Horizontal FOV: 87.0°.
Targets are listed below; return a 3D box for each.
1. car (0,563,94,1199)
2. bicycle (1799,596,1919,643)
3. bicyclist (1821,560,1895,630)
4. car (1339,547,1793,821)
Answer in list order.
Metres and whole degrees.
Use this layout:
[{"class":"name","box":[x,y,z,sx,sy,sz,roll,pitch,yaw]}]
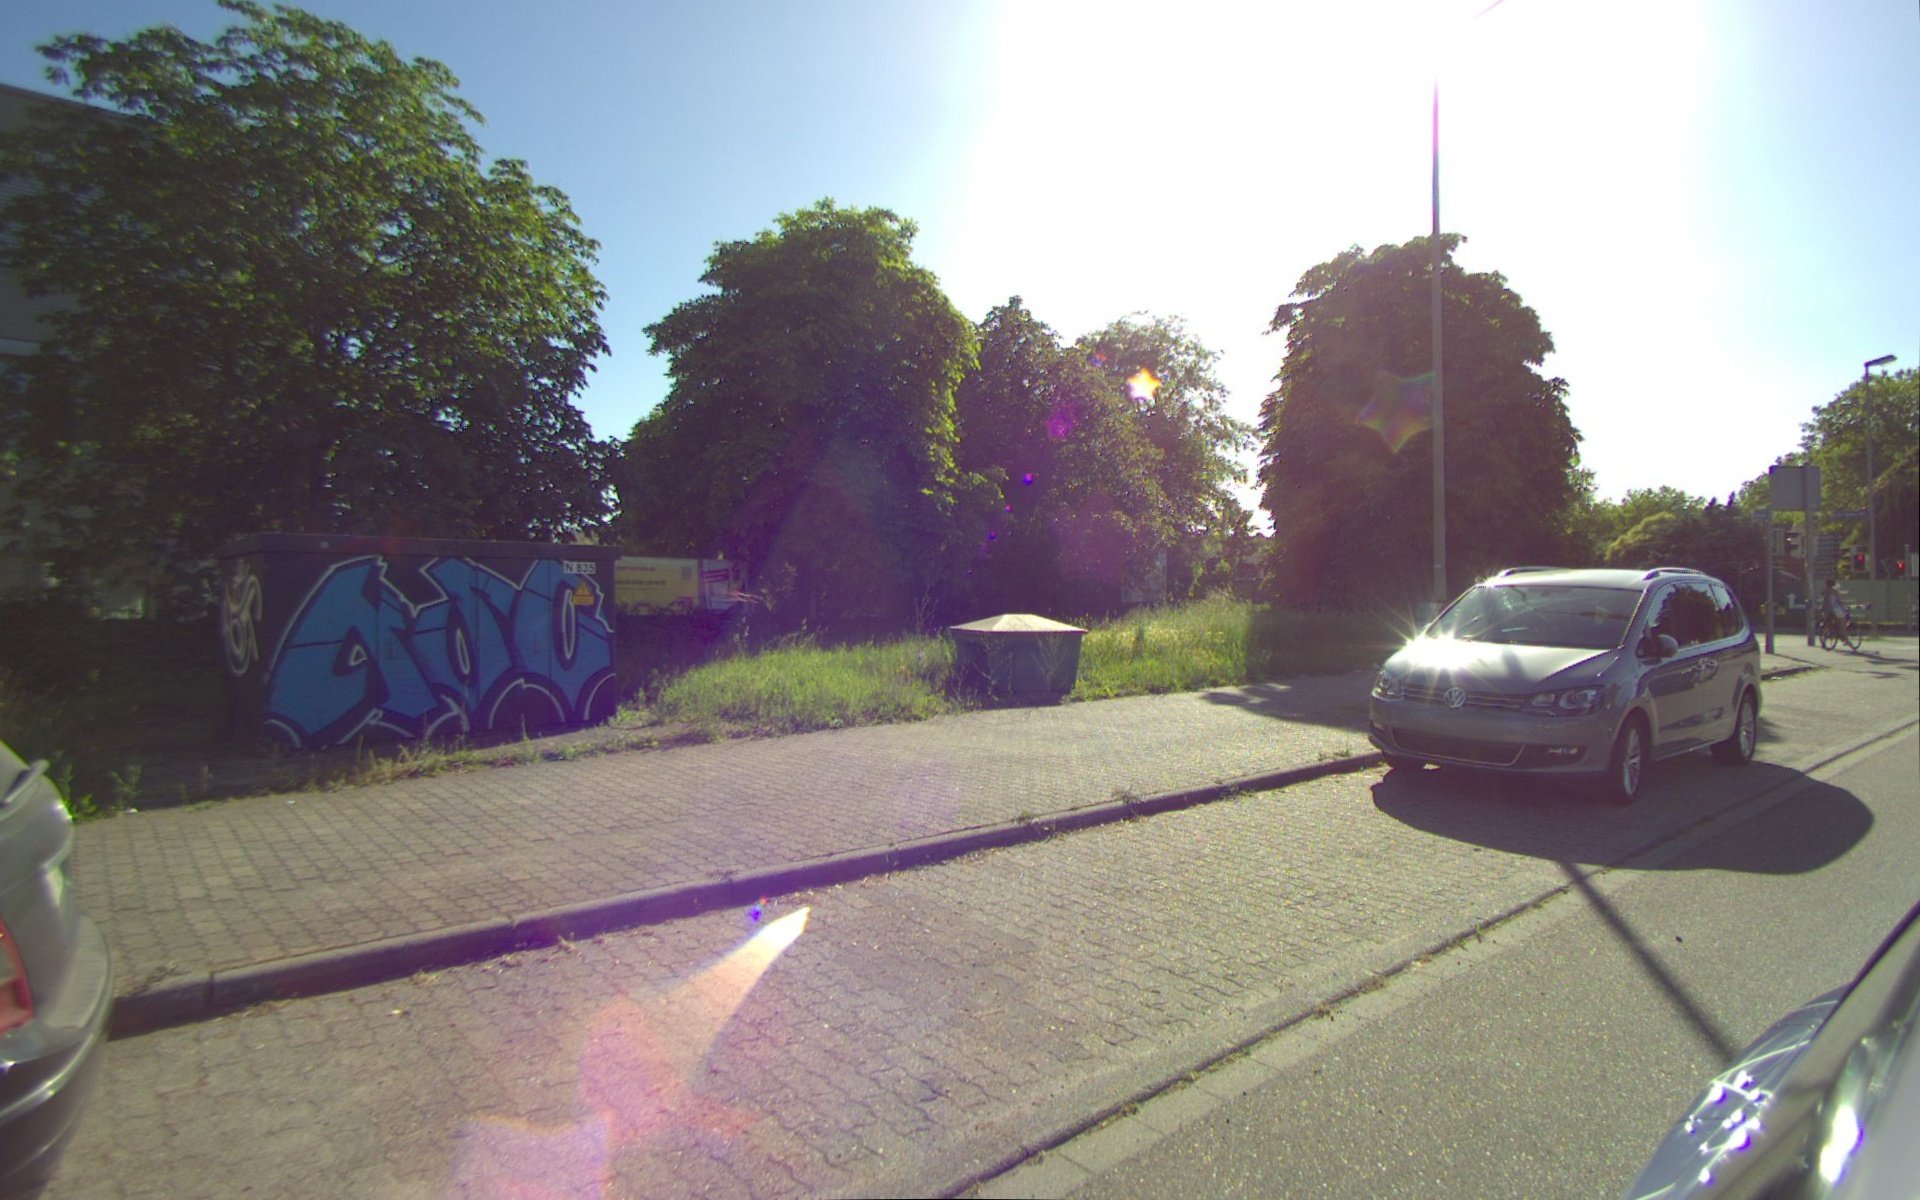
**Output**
[{"class":"car","box":[-3.720,0.658,0.975,4.348,1.437,1.811,0,0,-42]},{"class":"bicycle","box":[22.489,0.469,25.304,2.891,1.140,0.905,0,-1,-18]},{"class":"bicyclist","box":[22.450,-0.112,25.307,1.165,1.714,0.894,0,-1,-18]},{"class":"car","box":[5.311,0.485,8.609,4.530,1.743,1.877,-1,2,-39]}]
